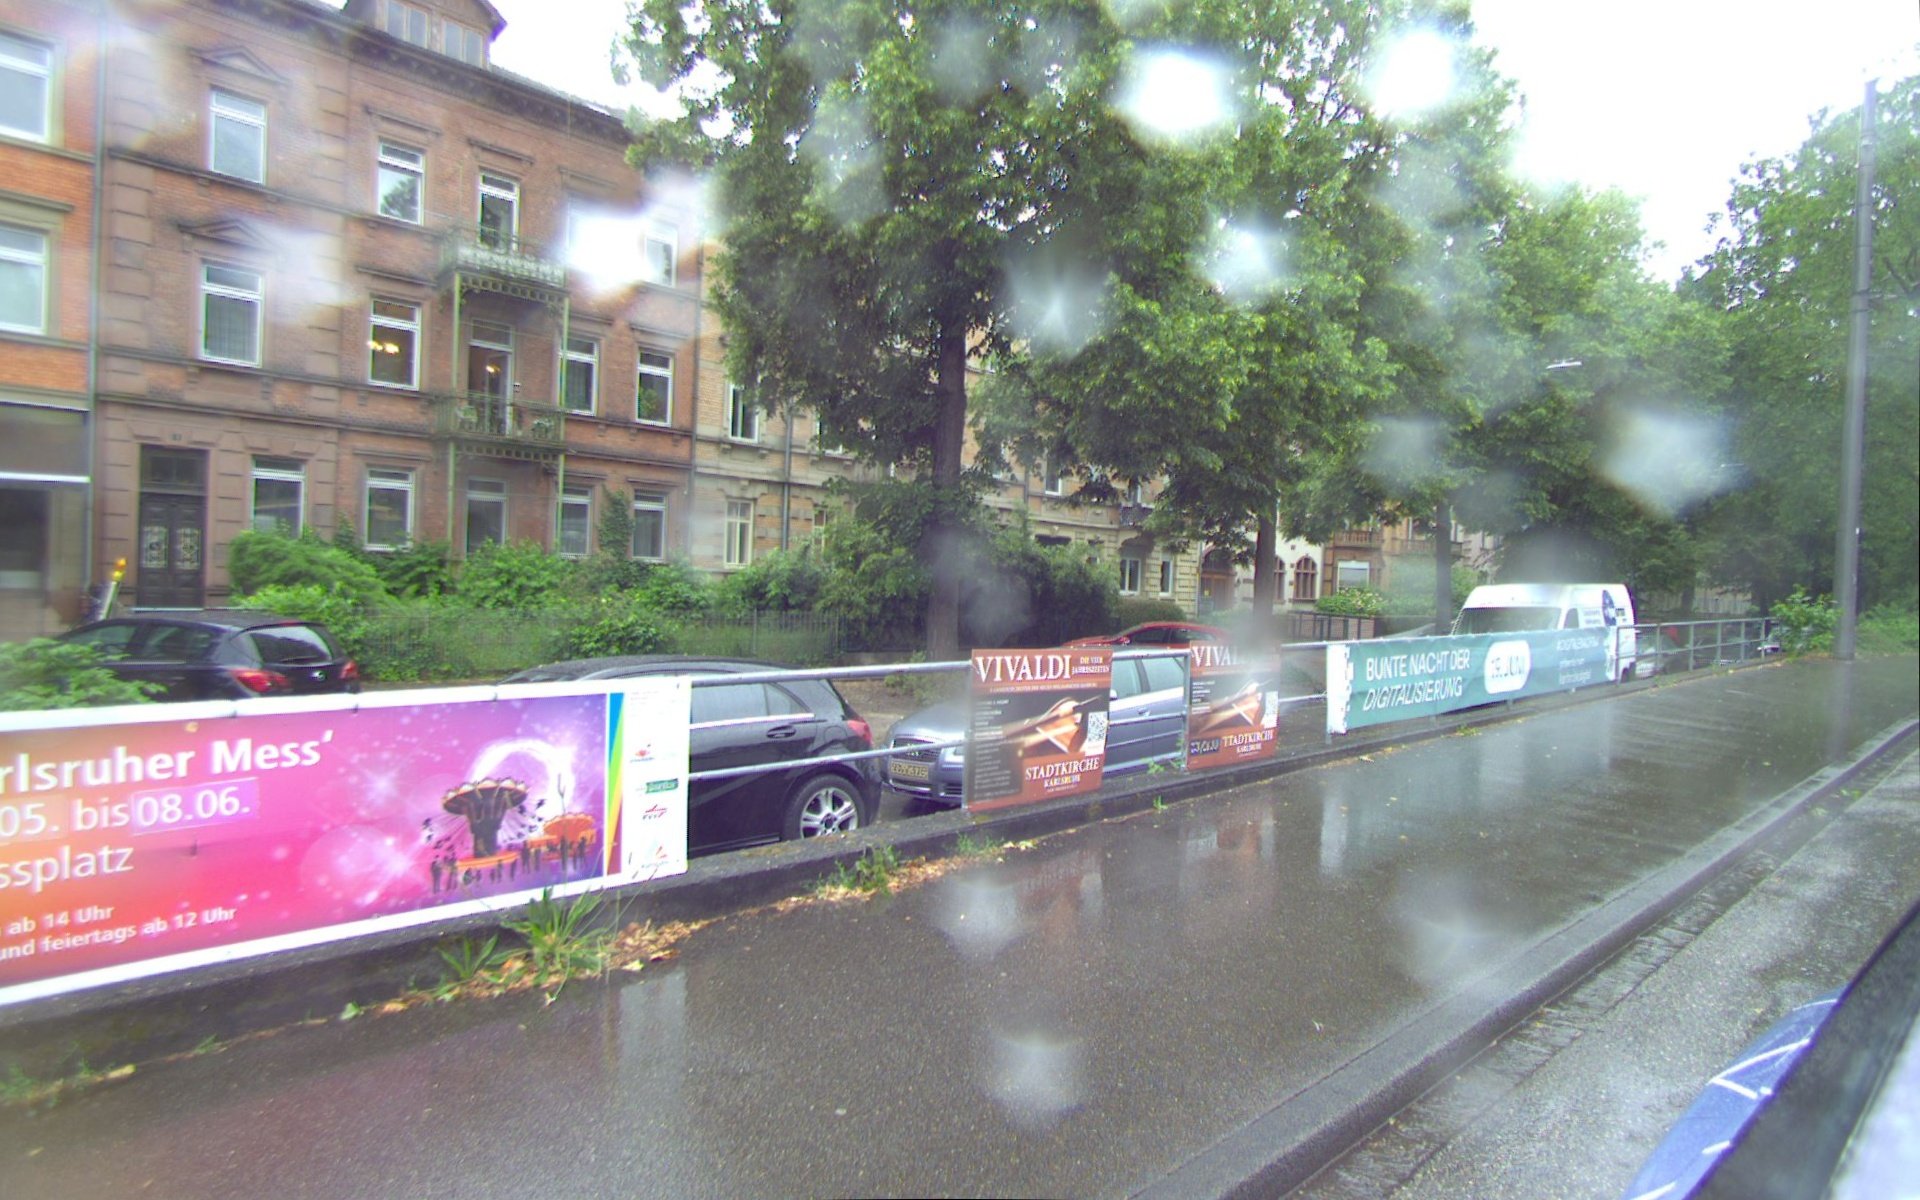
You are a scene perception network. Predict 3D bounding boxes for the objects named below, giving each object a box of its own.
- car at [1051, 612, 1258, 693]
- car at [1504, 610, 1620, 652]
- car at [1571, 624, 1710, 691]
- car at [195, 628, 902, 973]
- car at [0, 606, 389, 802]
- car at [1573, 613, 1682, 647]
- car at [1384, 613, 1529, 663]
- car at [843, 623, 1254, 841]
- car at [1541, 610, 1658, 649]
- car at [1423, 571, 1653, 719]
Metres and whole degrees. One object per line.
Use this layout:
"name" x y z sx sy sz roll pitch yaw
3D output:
"car" 4.398 1.116 22.740 4.372 1.471 1.888 2 1 18
"car" 25.600 1.282 43.180 3.948 1.629 1.815 1 1 19
"car" 16.541 1.314 24.526 4.312 1.370 1.968 0 0 -44
"car" -2.436 0.966 6.531 3.903 1.417 1.706 0 1 -41
"car" -8.519 0.979 11.162 3.958 1.735 1.983 1 1 25
"car" 32.081 1.419 48.737 3.942 1.482 1.904 0 1 15
"car" 16.519 1.231 33.899 4.214 1.397 1.679 2 2 22
"car" 1.003 1.056 9.785 4.006 1.559 1.734 0 0 -43
"car" 28.490 1.304 45.223 3.942 1.585 1.991 0 1 15
"car" 11.372 0.738 19.675 6.055 2.451 2.211 0 0 -43
